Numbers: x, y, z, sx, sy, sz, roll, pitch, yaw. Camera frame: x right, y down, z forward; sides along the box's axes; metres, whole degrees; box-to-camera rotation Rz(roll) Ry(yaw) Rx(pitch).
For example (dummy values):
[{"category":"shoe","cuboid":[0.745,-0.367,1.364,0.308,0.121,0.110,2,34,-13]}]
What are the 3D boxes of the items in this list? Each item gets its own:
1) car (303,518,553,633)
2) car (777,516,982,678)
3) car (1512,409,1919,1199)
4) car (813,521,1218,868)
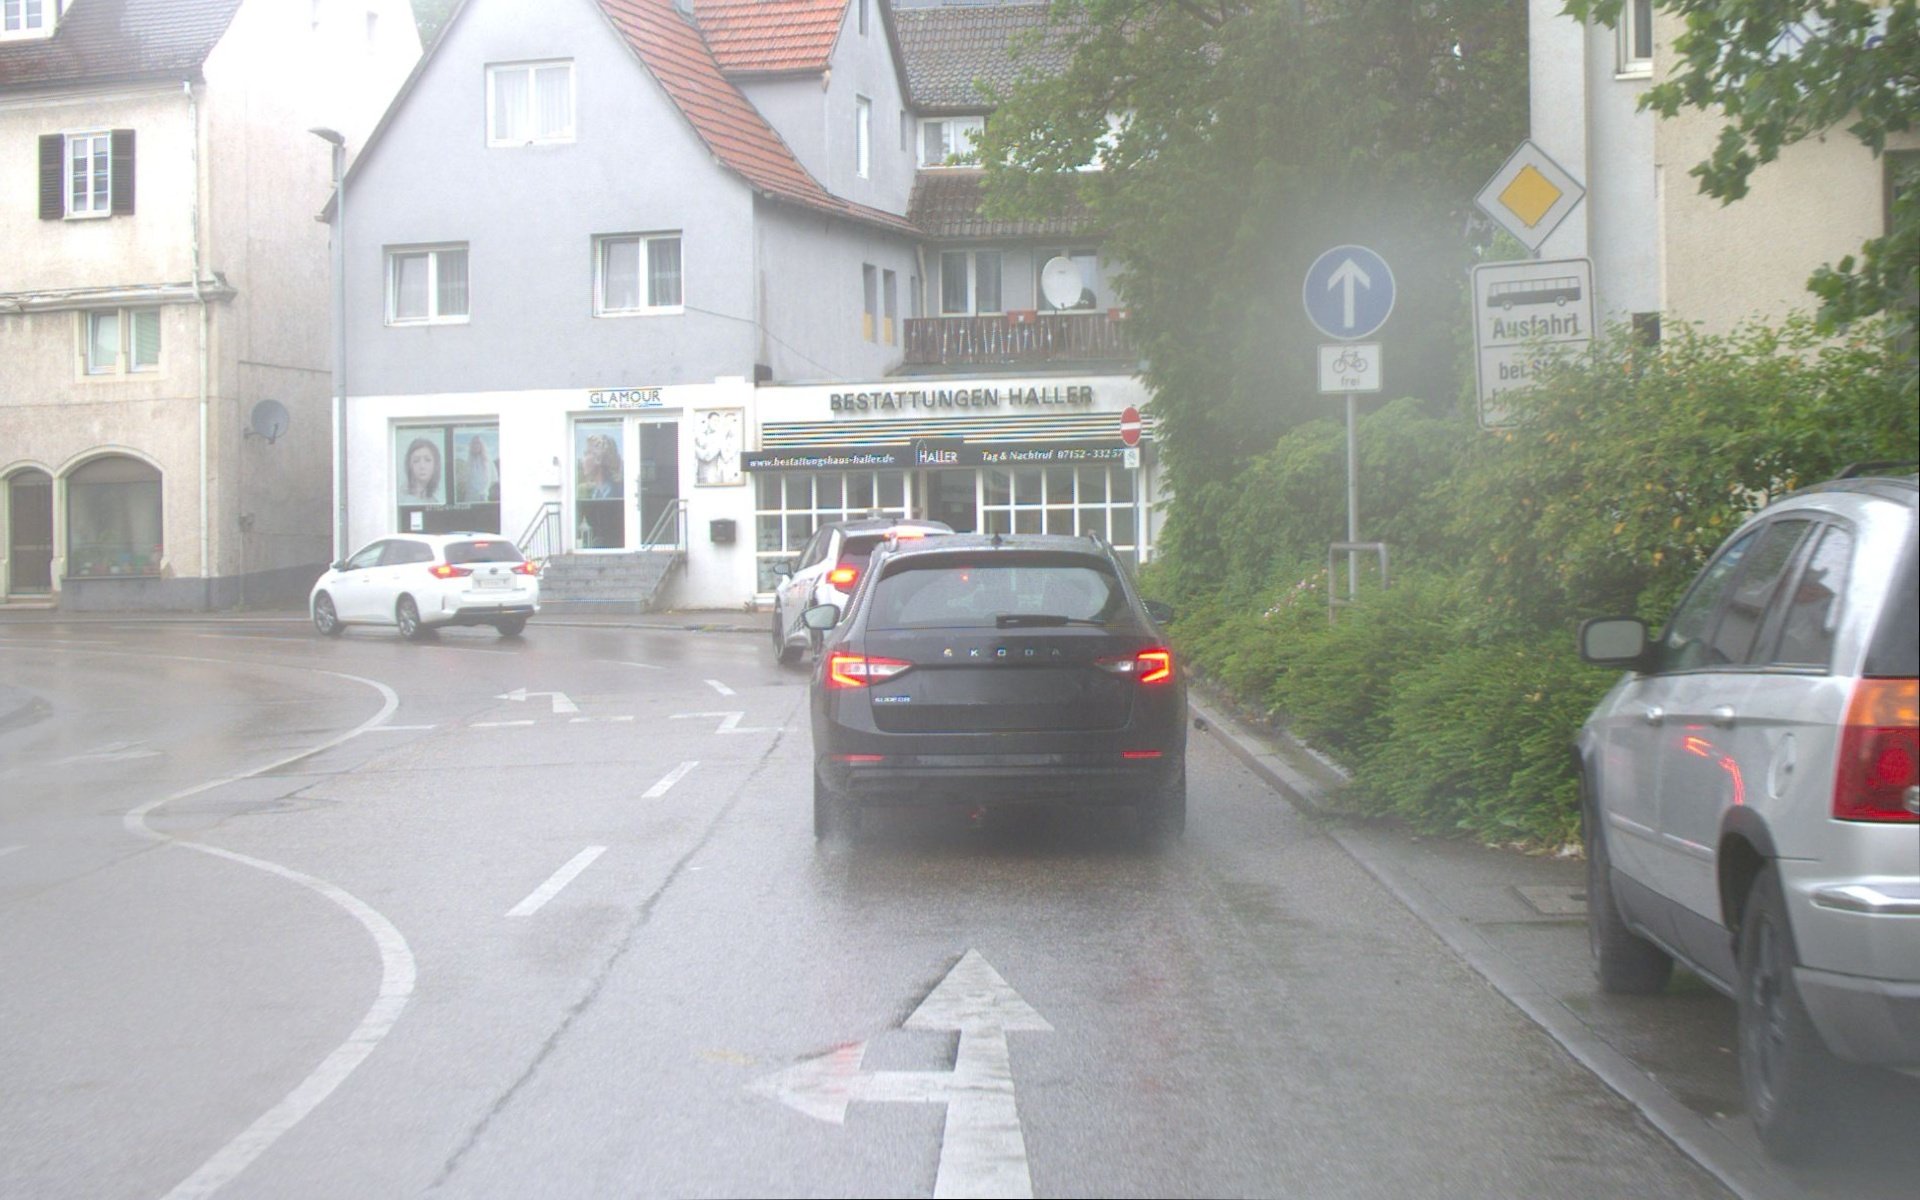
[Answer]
[{"category":"car","cuboid":[-7.569,-0.379,48.679,1.786,1.460,4.164,-2,3,-36]},{"category":"car","cuboid":[-0.913,-0.084,36.402,1.788,1.512,4.242,-2,2,-6]},{"category":"car","cuboid":[2.854,0.399,9.611,1.931,1.774,4.734,-2,1,2]},{"category":"car","cuboid":[0.163,0.374,17.523,1.732,1.445,4.242,-1,2,-3]}]
